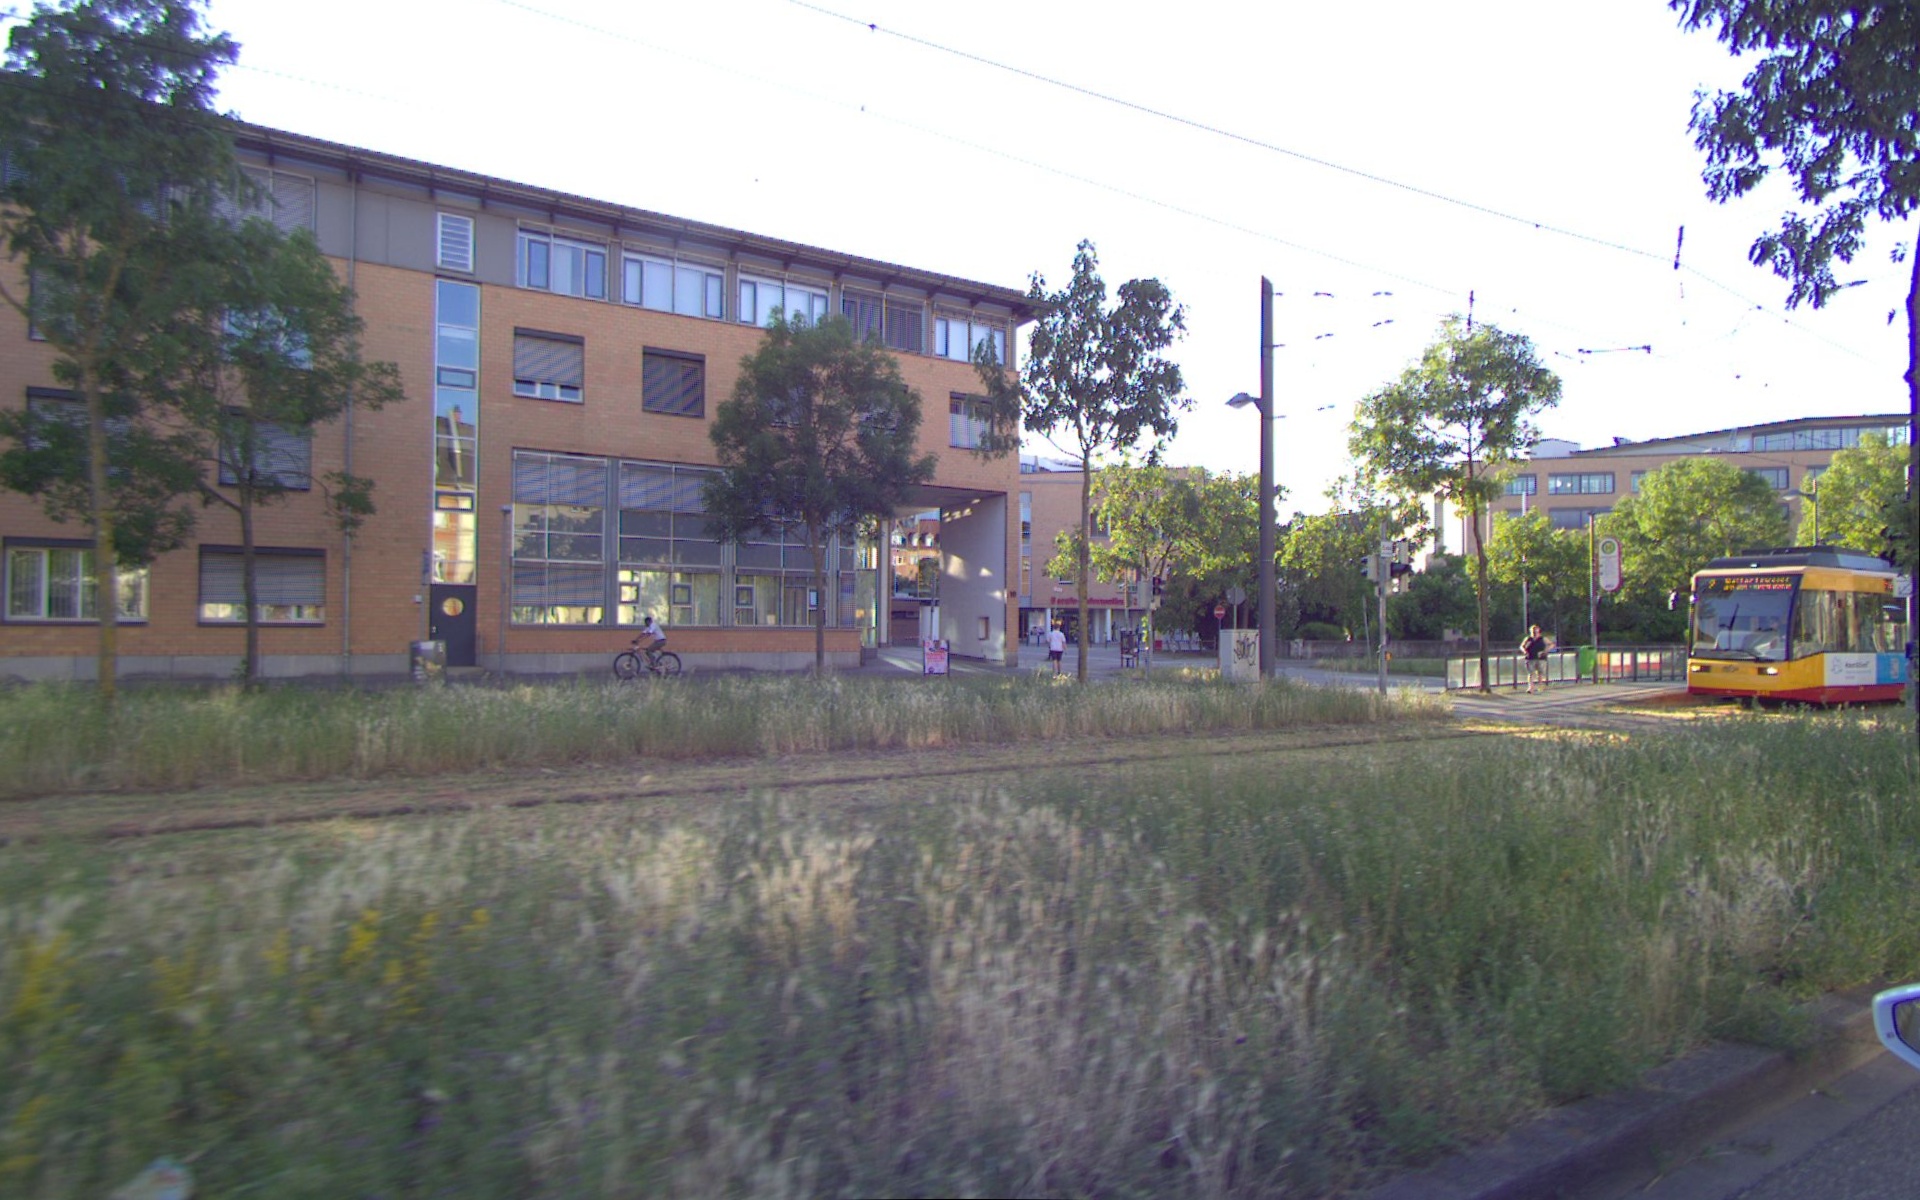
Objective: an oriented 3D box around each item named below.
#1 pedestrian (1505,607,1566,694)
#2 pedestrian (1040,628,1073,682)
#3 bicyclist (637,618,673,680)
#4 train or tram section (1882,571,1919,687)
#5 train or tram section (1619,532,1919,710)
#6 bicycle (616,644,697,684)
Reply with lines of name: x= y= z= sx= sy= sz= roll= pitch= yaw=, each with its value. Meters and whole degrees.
pedestrian: x=13.815 y=1.200 z=24.120 sx=0.946 sy=2.040 sz=0.930 roll=1 pitch=-1 yaw=-30
pedestrian: x=3.121 y=1.757 z=32.358 sx=0.822 sy=1.720 sz=0.683 roll=1 pitch=-2 yaw=-38
bicyclist: x=-8.561 y=1.372 z=28.174 sx=0.816 sy=1.696 sz=0.692 roll=1 pitch=-1 yaw=-30
train or tram section: x=34.349 y=0.999 z=32.075 sx=13.695 sy=3.383 sz=3.415 roll=2 pitch=-2 yaw=-31
train or tram section: x=22.028 y=0.603 z=24.848 sx=14.852 sy=3.475 sz=3.415 roll=2 pitch=-2 yaw=-31
bicycle: x=-8.516 y=1.780 z=28.205 sx=2.069 sy=1.066 sz=0.706 roll=1 pitch=-1 yaw=-30
